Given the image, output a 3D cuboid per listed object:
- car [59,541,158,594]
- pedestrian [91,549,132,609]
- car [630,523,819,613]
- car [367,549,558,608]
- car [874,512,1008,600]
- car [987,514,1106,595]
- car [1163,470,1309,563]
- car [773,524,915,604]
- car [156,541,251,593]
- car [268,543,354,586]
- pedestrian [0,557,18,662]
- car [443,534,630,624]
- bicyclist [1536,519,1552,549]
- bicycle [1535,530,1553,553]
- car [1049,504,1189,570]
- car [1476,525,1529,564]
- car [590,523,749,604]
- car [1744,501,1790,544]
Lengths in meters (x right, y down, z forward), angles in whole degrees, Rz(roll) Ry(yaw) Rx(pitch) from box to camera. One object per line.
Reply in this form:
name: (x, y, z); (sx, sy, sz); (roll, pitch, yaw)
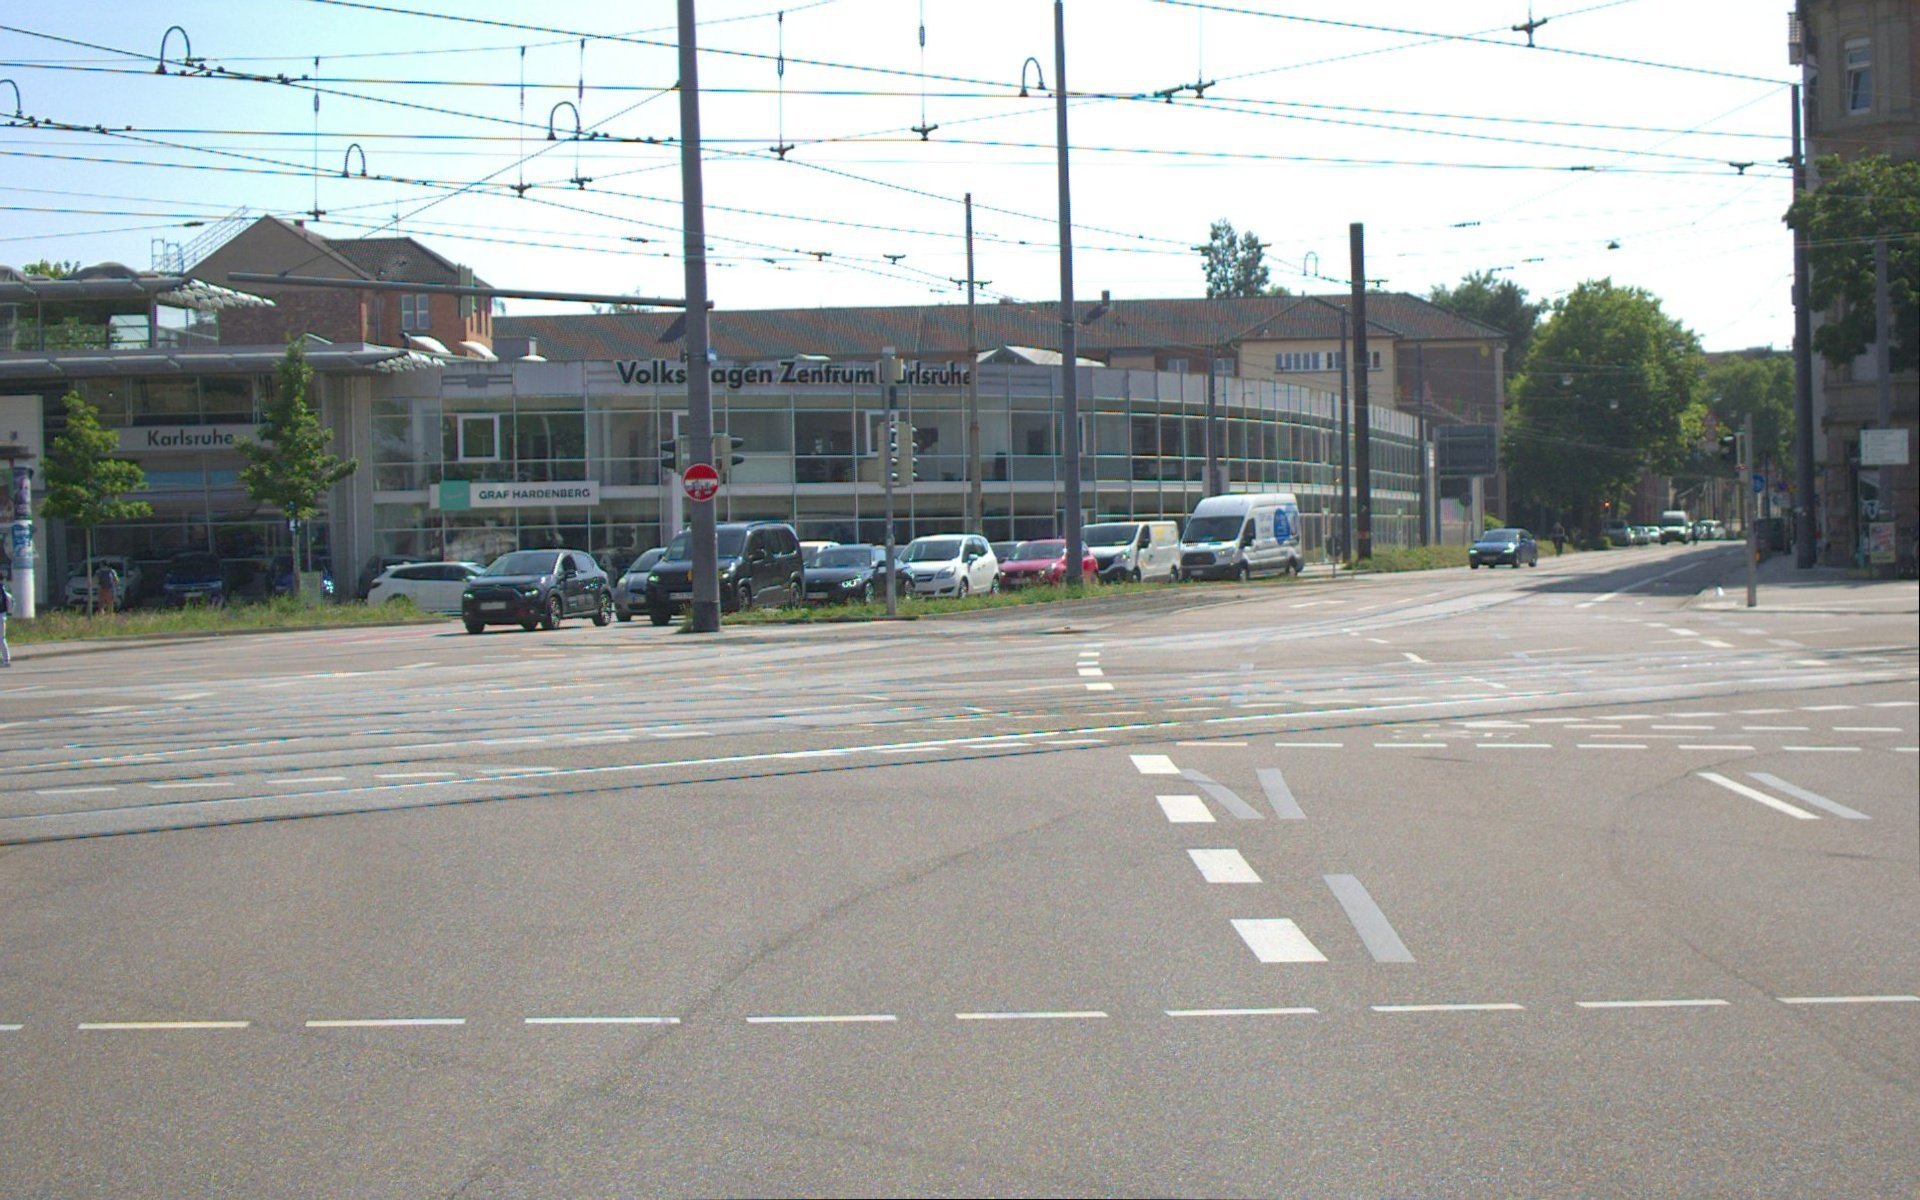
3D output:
car: (-24.791, -0.948, 100.216); (1.993, 1.481, 4.000); (1, 1, -2)
pedestrian: (-22.411, -0.564, 90.796); (0.953, 1.574, 0.534); (1, 0, -3)
car: (-4.361, -0.619, 64.433); (1.962, 1.582, 4.712); (-1, 1, 17)
car: (-12.629, -0.550, 87.267); (4.587, 1.431, 1.443); (1, 0, 14)
car: (-0.392, -0.983, 78.278); (1.896, 1.910, 4.197); (-1, 0, 16)
car: (2.174, -1.102, 85.178); (1.896, 1.910, 4.197); (-1, 0, 16)
car: (8.026, -2.375, 99.468); (2.211, 2.566, 5.867); (1, 0, 26)
car: (-2.362, -0.726, 70.986); (1.895, 1.582, 3.997); (-1, 0, 14)
car: (-22.006, -0.966, 100.190); (1.993, 1.481, 4.000); (1, 1, -2)
car: (-18.813, -1.039, 99.803); (1.830, 1.191, 4.000); (1, 1, -2)
pedestrian: (-14.658, 0.140, 52.397); (0.453, 1.599, 0.400); (1, 0, -36)
car: (-7.818, -0.375, 63.821); (1.893, 1.582, 4.207); (-1, 0, 17)
bicyclist: (30.904, -3.500, 181.924); (0.752, 1.562, 1.086); (1, 0, 13)
bicycle: (30.892, -3.099, 181.874); (0.752, 1.190, 2.837); (1, 0, 13)
car: (4.308, -1.718, 92.225); (2.188, 1.675, 5.024); (-1, 1, 22)
car: (19.942, -2.035, 126.303); (1.385, 1.409, 3.010); (1, 0, 19)
car: (-5.929, -0.729, 70.633); (1.896, 1.582, 3.997); (-1, 0, 17)
car: (38.845, -3.725, 165.413); (2.110, 2.007, 3.998); (0, 1, 14)
